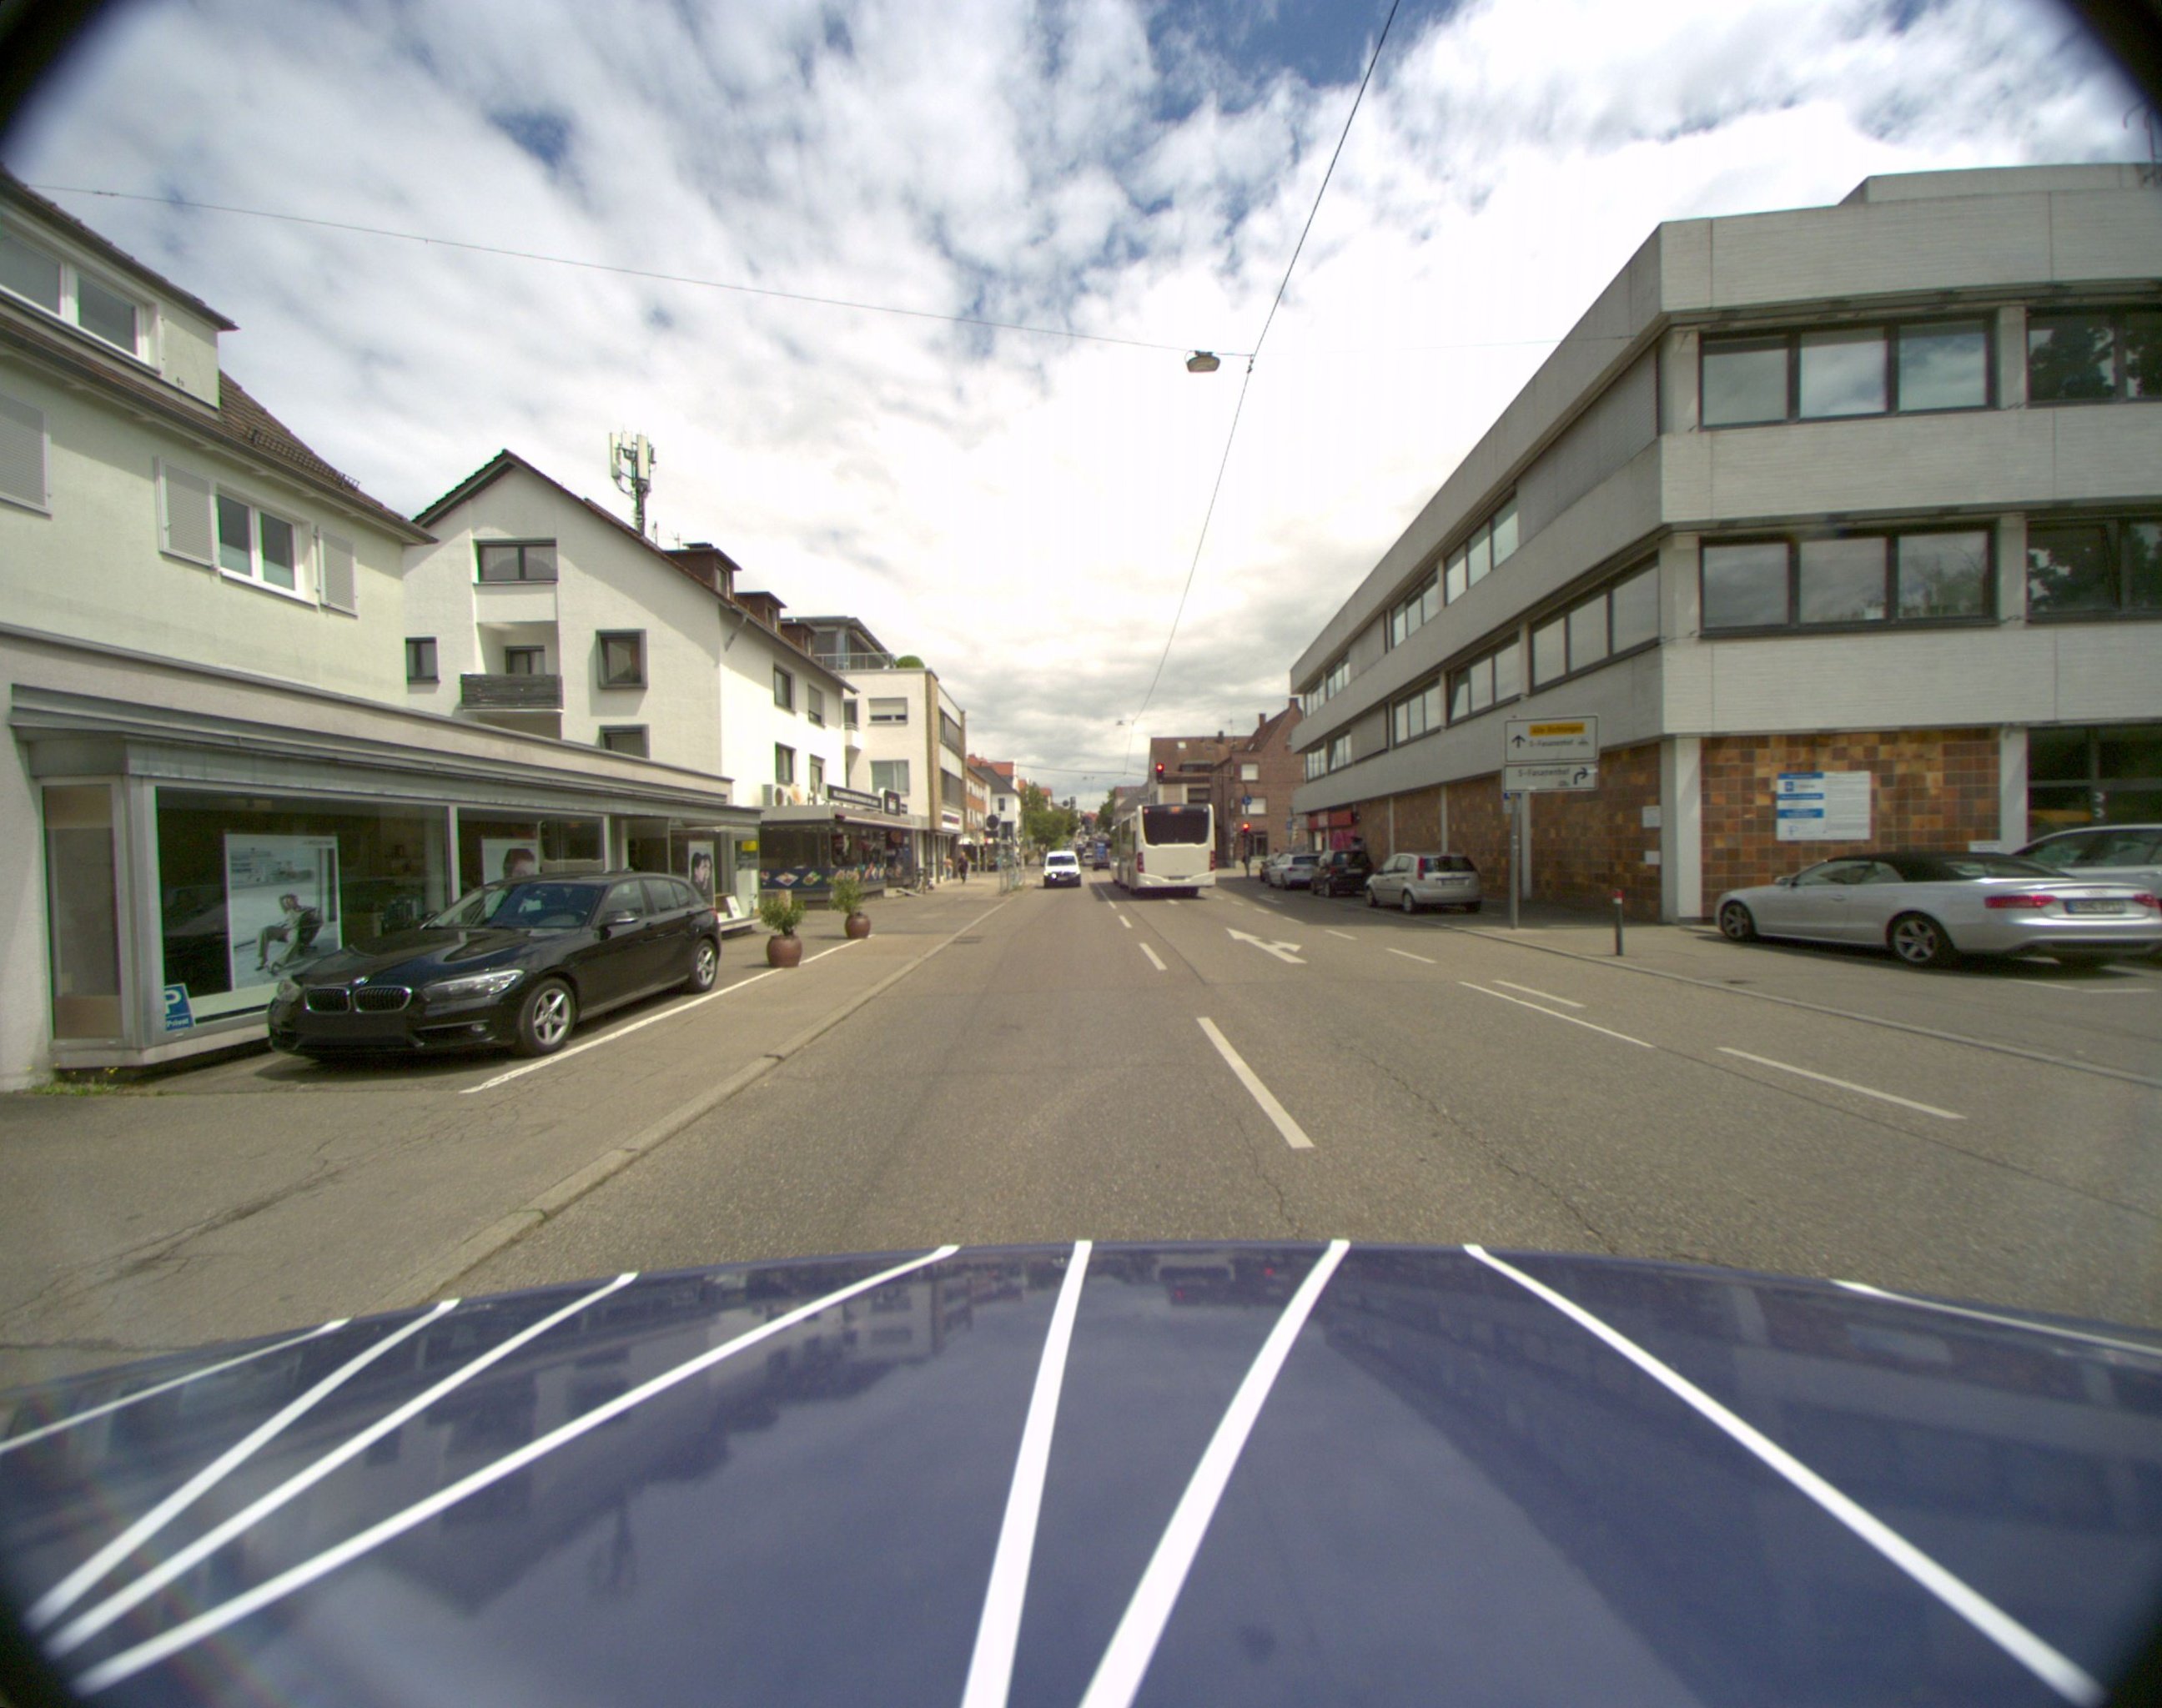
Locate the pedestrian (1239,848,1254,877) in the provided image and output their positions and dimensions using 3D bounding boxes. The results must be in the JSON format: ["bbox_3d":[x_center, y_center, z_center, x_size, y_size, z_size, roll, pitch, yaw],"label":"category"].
[{"bbox_3d":[9.605,0.481,44.072,0.719,1.635,0.682,-3,1,5],"label":"pedestrian"}]

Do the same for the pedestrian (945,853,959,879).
[{"bbox_3d":[-7.660,0.721,44.968,0.681,1.490,0.720,-1,1,0],"label":"pedestrian"}]

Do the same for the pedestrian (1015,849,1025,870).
[{"bbox_3d":[-5.353,0.445,66.529,0.581,1.820,0.882,0,1,16],"label":"pedestrian"}]

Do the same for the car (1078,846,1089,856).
[{"bbox_3d":[0.494,-0.567,145.821,1.954,1.866,4.875,-1,1,-1],"label":"car"}]

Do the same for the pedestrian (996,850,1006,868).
[{"bbox_3d":[-6.909,0.433,65.522,0.779,1.517,0.819,-1,1,2],"label":"pedestrian"}]

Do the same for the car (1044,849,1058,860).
[{"bbox_3d":[-4.731,0.085,119.669,1.999,1.654,3.999,-1,0,0],"label":"car"}]

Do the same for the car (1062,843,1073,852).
[{"bbox_3d":[-2.823,-1.417,161.382,2.150,1.747,3.973,-1,0,0],"label":"car"}]

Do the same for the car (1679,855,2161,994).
[{"bbox_3d":[10.744,0.724,10.126,1.955,1.350,4.856,-1,0,4],"label":"car"}]

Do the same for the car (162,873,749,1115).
[{"bbox_3d":[-5.129,0.983,7.316,1.973,1.439,4.534,-1,0,-2],"label":"car"}]

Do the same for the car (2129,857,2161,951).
[{"bbox_3d":[16.211,0.715,9.325,1.767,1.323,3.605,-1,0,2],"label":"car"}]

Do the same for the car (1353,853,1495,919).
[{"bbox_3d":[8.441,0.721,19.121,1.726,1.414,4.148,-2,0,1],"label":"car"}]

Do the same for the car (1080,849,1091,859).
[{"bbox_3d":[0.751,0.046,127.463,1.681,1.626,2.833,-1,0,-2],"label":"car"}]

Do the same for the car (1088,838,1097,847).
[{"bbox_3d":[2.704,-2.830,181.996,2.111,2.109,4.764,-1,1,-1],"label":"car"}]

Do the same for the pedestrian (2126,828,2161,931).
[{"bbox_3d":[17.802,0.409,12.166,0.719,1.662,0.995,0,1,5],"label":"pedestrian"}]

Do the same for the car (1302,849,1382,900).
[{"bbox_3d":[8.663,0.648,25.459,1.740,1.547,3.057,-2,0,3],"label":"car"}]

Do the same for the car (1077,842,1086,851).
[{"bbox_3d":[0.062,-1.560,164.976,1.819,1.919,4.112,-1,0,0],"label":"car"}]

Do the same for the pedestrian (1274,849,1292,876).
[{"bbox_3d":[11.776,0.480,44.259,0.820,1.546,0.846,-3,1,5],"label":"pedestrian"}]

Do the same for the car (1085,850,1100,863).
[{"bbox_3d":[1.636,0.323,108.463,1.950,1.810,4.278,-1,0,0],"label":"car"}]

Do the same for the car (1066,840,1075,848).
[{"bbox_3d":[-2.582,-2.470,189.422,2.150,1.747,3.973,-1,0,0],"label":"car"}]

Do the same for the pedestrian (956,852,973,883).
[{"bbox_3d":[-6.301,0.712,41.265,0.797,1.661,0.807,0,1,-1],"label":"pedestrian"}]

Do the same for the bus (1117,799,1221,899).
[{"bbox_3d":[2.997,-0.187,28.282,2.723,3.145,8.066,-1,0,-1],"label":"bus"}]

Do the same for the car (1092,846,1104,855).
[{"bbox_3d":[3.340,-0.674,148.586,2.111,1.778,4.529,-1,0,-1],"label":"car"}]

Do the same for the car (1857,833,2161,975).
[{"bbox_3d":[13.366,0.591,9.823,1.955,1.610,4.932,1,0,6],"label":"car"}]

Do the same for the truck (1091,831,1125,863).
[{"bbox_3d":[2.721,-0.722,79.223,2.861,3.075,8.086,-1,1,-2],"label":"truck"}]

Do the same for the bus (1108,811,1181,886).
[{"bbox_3d":[2.894,-0.252,37.380,2.689,3.145,10.183,-1,0,0],"label":"bus"}]

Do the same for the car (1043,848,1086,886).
[{"bbox_3d":[-0.871,0.611,38.283,2.000,1.797,4.764,-1,0,-2],"label":"car"}]

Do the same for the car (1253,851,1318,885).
[{"bbox_3d":[9.781,0.607,36.662,2.049,1.467,4.285,-2,0,1],"label":"car"}]

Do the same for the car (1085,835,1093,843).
[{"bbox_3d":[2.144,-4.232,215.674,1.982,1.985,5.027,-1,0,-2],"label":"car"}]

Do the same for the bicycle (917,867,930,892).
[{"bbox_3d":[-6.840,1.090,33.074,0.476,1.022,1.634,-1,0,-9],"label":"bicycle"}]

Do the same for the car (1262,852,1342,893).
[{"bbox_3d":[8.961,0.690,31.224,2.049,1.436,4.953,-2,0,3],"label":"car"}]

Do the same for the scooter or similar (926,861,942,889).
[{"bbox_3d":[-6.920,0.984,35.789,0.690,1.260,1.184,-1,1,-12],"label":"scooter or similar"}]
